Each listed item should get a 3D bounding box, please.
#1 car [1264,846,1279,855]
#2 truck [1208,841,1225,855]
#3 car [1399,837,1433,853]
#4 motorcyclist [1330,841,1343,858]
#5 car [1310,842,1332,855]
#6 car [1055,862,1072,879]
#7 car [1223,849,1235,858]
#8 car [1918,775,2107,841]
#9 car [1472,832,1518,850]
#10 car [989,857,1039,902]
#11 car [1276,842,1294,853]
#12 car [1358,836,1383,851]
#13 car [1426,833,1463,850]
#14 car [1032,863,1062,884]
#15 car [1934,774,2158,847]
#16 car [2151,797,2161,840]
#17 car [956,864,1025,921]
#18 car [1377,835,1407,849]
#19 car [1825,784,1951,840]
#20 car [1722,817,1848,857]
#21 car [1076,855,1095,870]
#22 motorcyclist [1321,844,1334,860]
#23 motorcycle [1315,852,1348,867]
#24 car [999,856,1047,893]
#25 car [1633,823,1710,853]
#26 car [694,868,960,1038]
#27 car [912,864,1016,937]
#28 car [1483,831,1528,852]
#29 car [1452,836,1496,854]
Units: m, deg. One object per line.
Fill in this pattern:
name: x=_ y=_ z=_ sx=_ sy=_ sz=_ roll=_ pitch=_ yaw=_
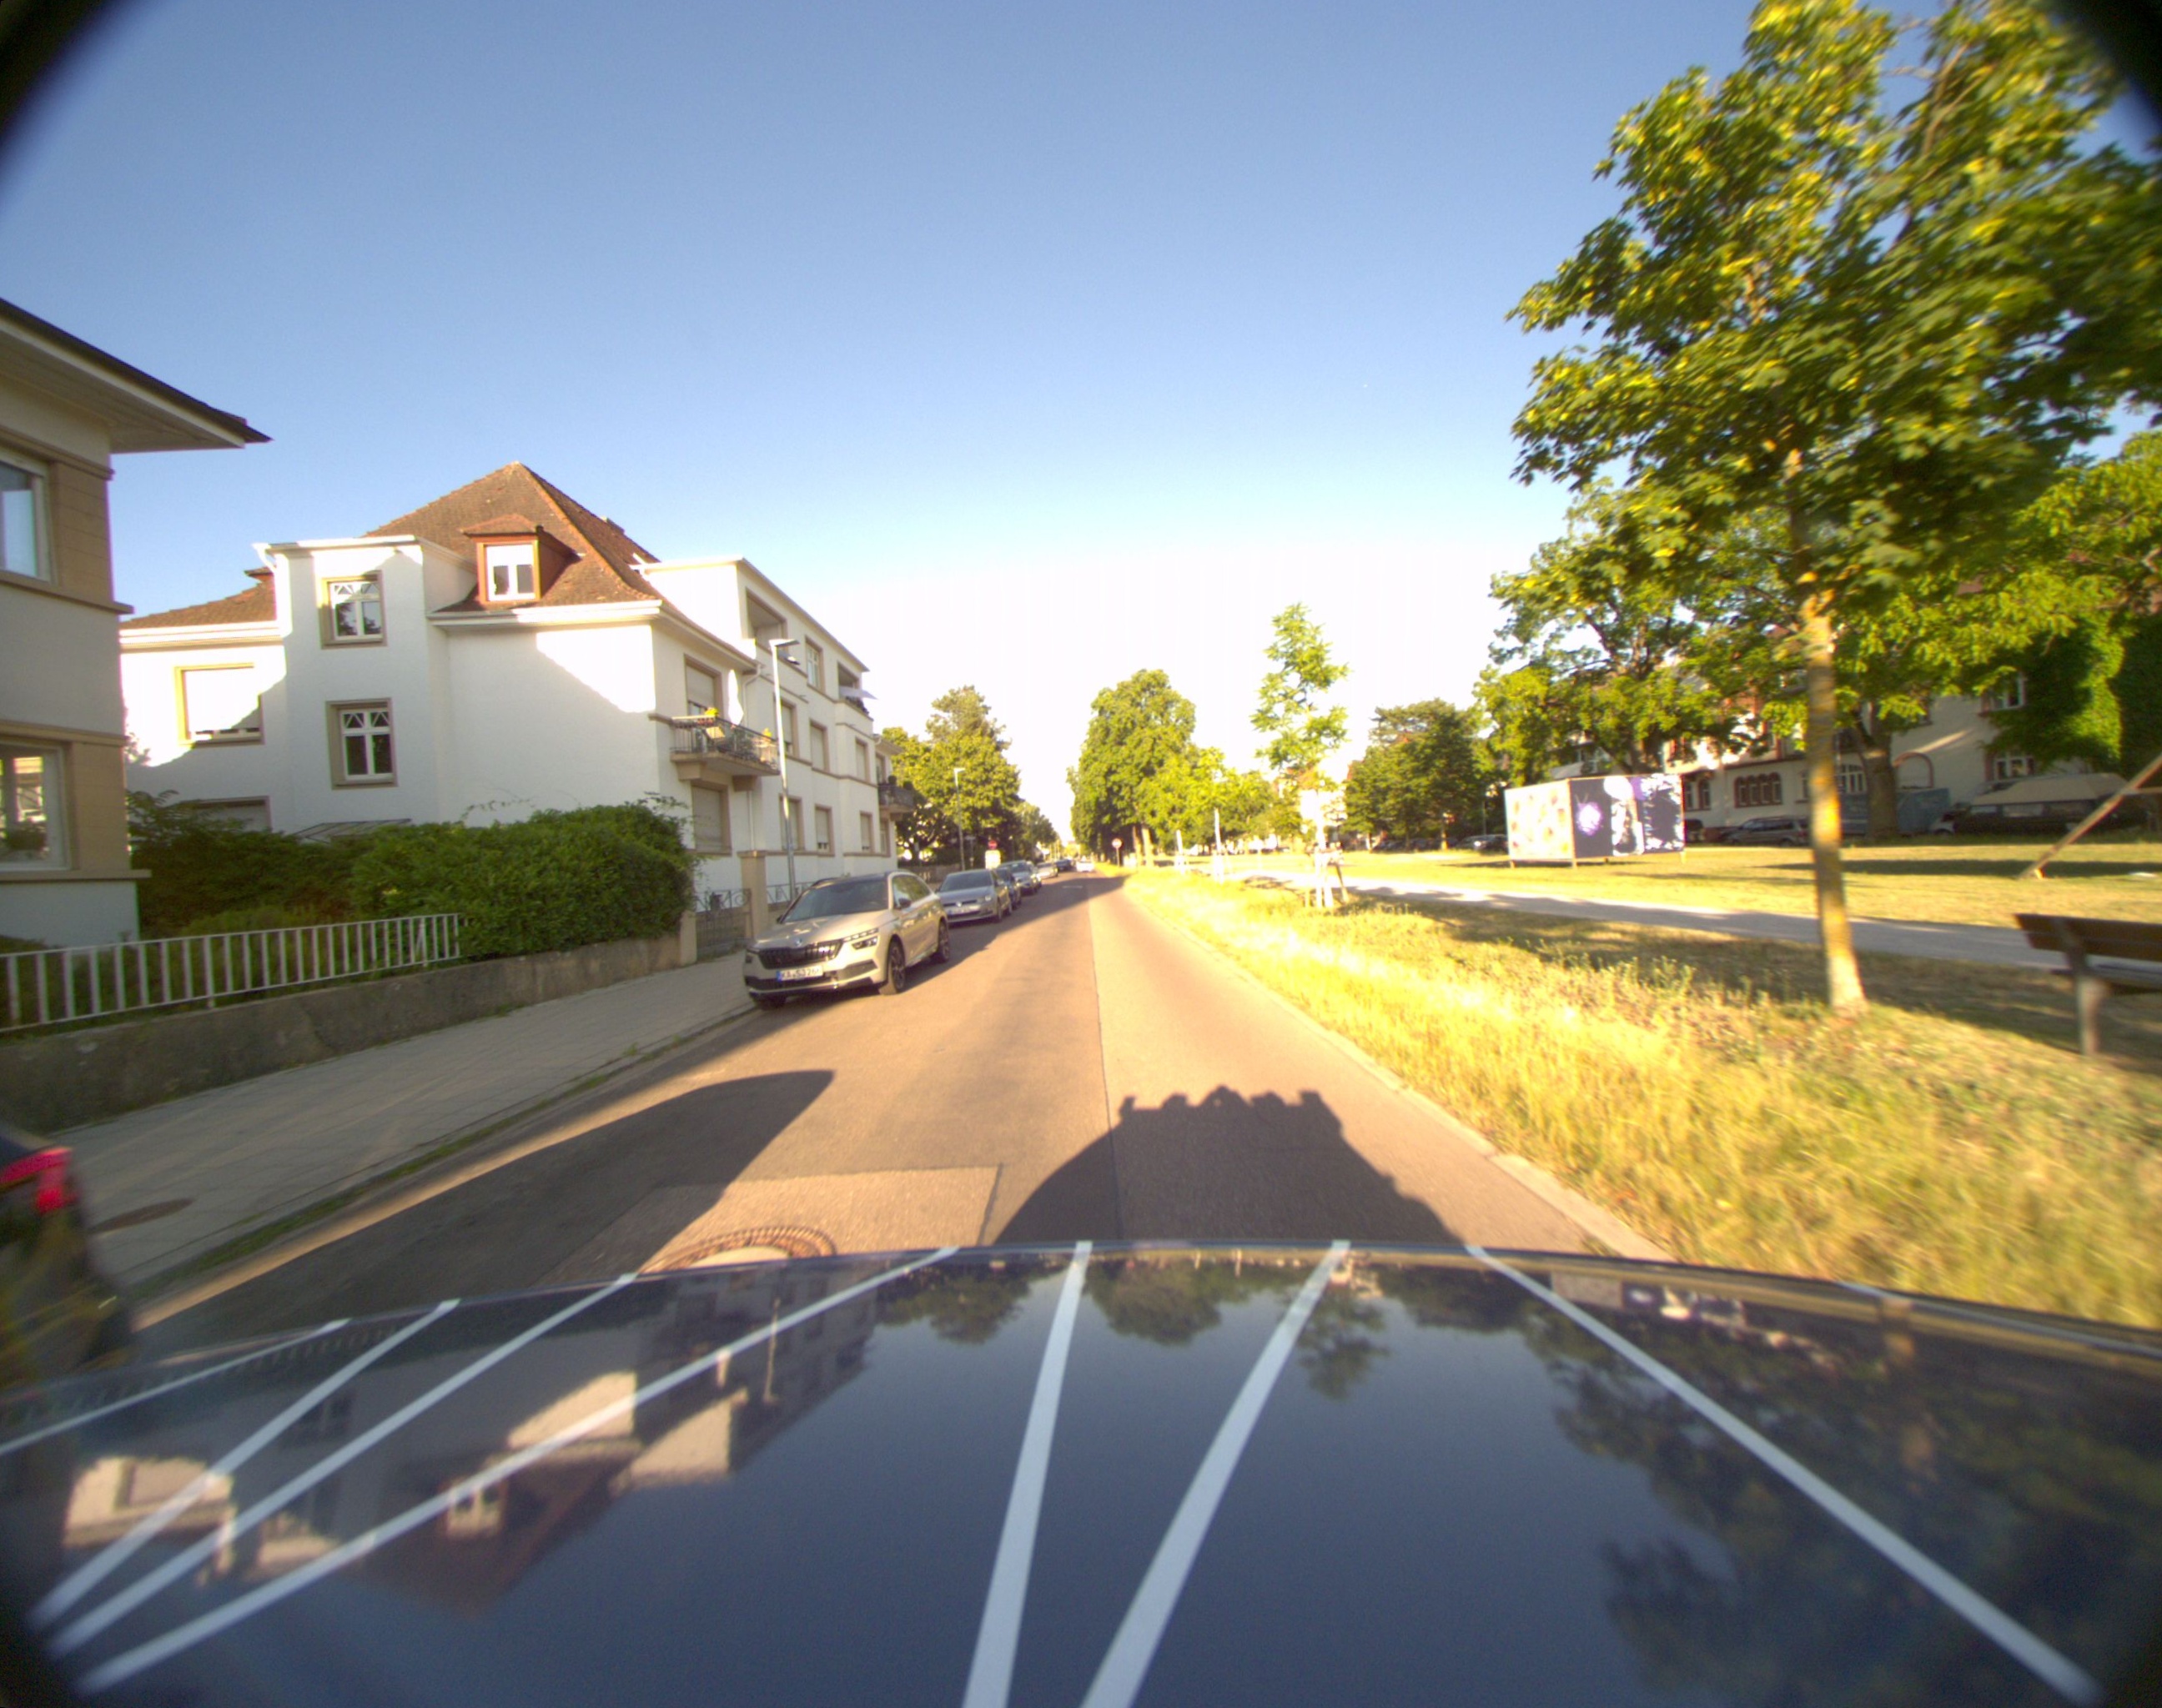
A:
car: x=39.924 y=-0.829 z=159.067 sx=1.999 sy=1.871 sz=3.998 roll=0 pitch=1 yaw=-2
truck: x=34.942 y=-1.528 z=196.271 sx=2.785 sy=3.127 sz=7.710 roll=-4 pitch=0 yaw=-1
car: x=34.144 y=-0.890 z=77.541 sx=1.560 sy=1.407 sz=3.642 roll=-3 pitch=-1 yaw=-4
motorcyclist: x=18.148 y=-0.320 z=53.986 sx=0.575 sy=1.143 sz=0.750 roll=-3 pitch=0 yaw=-11
car: x=34.410 y=-0.782 z=109.035 sx=1.998 sy=1.833 sz=4.000 roll=0 pitch=1 yaw=1
car: x=-2.334 y=2.208 z=101.412 sx=1.998 sy=2.179 sz=4.001 roll=-3 pitch=-1 yaw=1
car: x=35.152 y=-0.052 z=180.645 sx=1.998 sy=2.001 sz=4.001 roll=-3 pitch=-1 yaw=3
car: x=39.954 y=-1.881 z=32.846 sx=1.950 sy=2.624 sz=5.044 roll=0 pitch=1 yaw=1
car: x=40.098 y=-1.220 z=73.744 sx=1.999 sy=1.490 sz=3.999 roll=-3 pitch=-1 yaw=-4
car: x=-3.016 y=1.094 z=35.068 sx=1.806 sy=1.639 sz=4.583 roll=-8 pitch=1 yaw=-1
car: x=34.808 y=-1.037 z=129.494 sx=1.998 sy=1.692 sz=4.001 roll=-3 pitch=-1 yaw=1
car: x=40.541 y=-1.441 z=106.382 sx=1.998 sy=2.002 sz=4.001 roll=-3 pitch=0 yaw=3
car: x=34.095 y=-1.152 z=71.367 sx=1.560 sy=1.360 sz=3.642 roll=-3 pitch=-1 yaw=-4
car: x=-2.840 y=1.626 z=64.183 sx=2.111 sy=1.396 sz=4.132 roll=-8 pitch=-1 yaw=1
car: x=33.995 y=-1.449 z=27.031 sx=1.999 sy=2.161 sz=4.571 roll=-3 pitch=-1 yaw=-2
car: x=33.935 y=-1.135 z=21.437 sx=1.857 sy=1.308 sz=4.043 roll=-4 pitch=0 yaw=3
car: x=-3.014 y=1.246 z=26.186 sx=1.767 sy=1.427 sz=4.302 roll=-9 pitch=1 yaw=-1
car: x=33.912 y=-1.290 z=82.975 sx=1.560 sy=1.323 sz=3.642 roll=-3 pitch=-1 yaw=-4
car: x=39.888 y=-2.020 z=37.695 sx=1.998 sy=2.527 sz=3.999 roll=-3 pitch=2 yaw=1
car: x=34.171 y=-0.774 z=37.078 sx=1.999 sy=1.718 sz=4.345 roll=-3 pitch=-1 yaw=-1
car: x=0.501 y=0.918 z=85.998 sx=1.998 sy=1.483 sz=4.000 roll=-4 pitch=0 yaw=1
motorcyclist: x=17.476 y=-0.133 z=53.808 sx=0.575 sy=1.143 sz=0.750 roll=-3 pitch=0 yaw=-7
motorcycle: x=17.739 y=0.373 z=53.820 sx=2.110 sy=0.951 sz=0.566 roll=-3 pitch=0 yaw=-7
car: x=-3.056 y=1.056 z=40.908 sx=1.880 sy=1.525 sz=4.589 roll=-8 pitch=1 yaw=2
car: x=39.948 y=-1.026 z=51.576 sx=1.624 sy=1.813 sz=4.288 roll=-3 pitch=-1 yaw=-4
car: x=-3.138 y=1.126 z=10.542 sx=1.888 sy=1.528 sz=4.462 roll=-6 pitch=1 yaw=2
car: x=-3.067 y=1.182 z=20.904 sx=1.916 sy=1.550 sz=4.567 roll=-7 pitch=-1 yaw=1
car: x=34.275 y=-1.016 z=61.448 sx=1.894 sy=1.513 sz=3.682 roll=-2 pitch=-1 yaw=6
car: x=34.033 y=-0.743 z=65.933 sx=1.692 sy=1.399 sz=3.642 roll=-3 pitch=-1 yaw=-4
